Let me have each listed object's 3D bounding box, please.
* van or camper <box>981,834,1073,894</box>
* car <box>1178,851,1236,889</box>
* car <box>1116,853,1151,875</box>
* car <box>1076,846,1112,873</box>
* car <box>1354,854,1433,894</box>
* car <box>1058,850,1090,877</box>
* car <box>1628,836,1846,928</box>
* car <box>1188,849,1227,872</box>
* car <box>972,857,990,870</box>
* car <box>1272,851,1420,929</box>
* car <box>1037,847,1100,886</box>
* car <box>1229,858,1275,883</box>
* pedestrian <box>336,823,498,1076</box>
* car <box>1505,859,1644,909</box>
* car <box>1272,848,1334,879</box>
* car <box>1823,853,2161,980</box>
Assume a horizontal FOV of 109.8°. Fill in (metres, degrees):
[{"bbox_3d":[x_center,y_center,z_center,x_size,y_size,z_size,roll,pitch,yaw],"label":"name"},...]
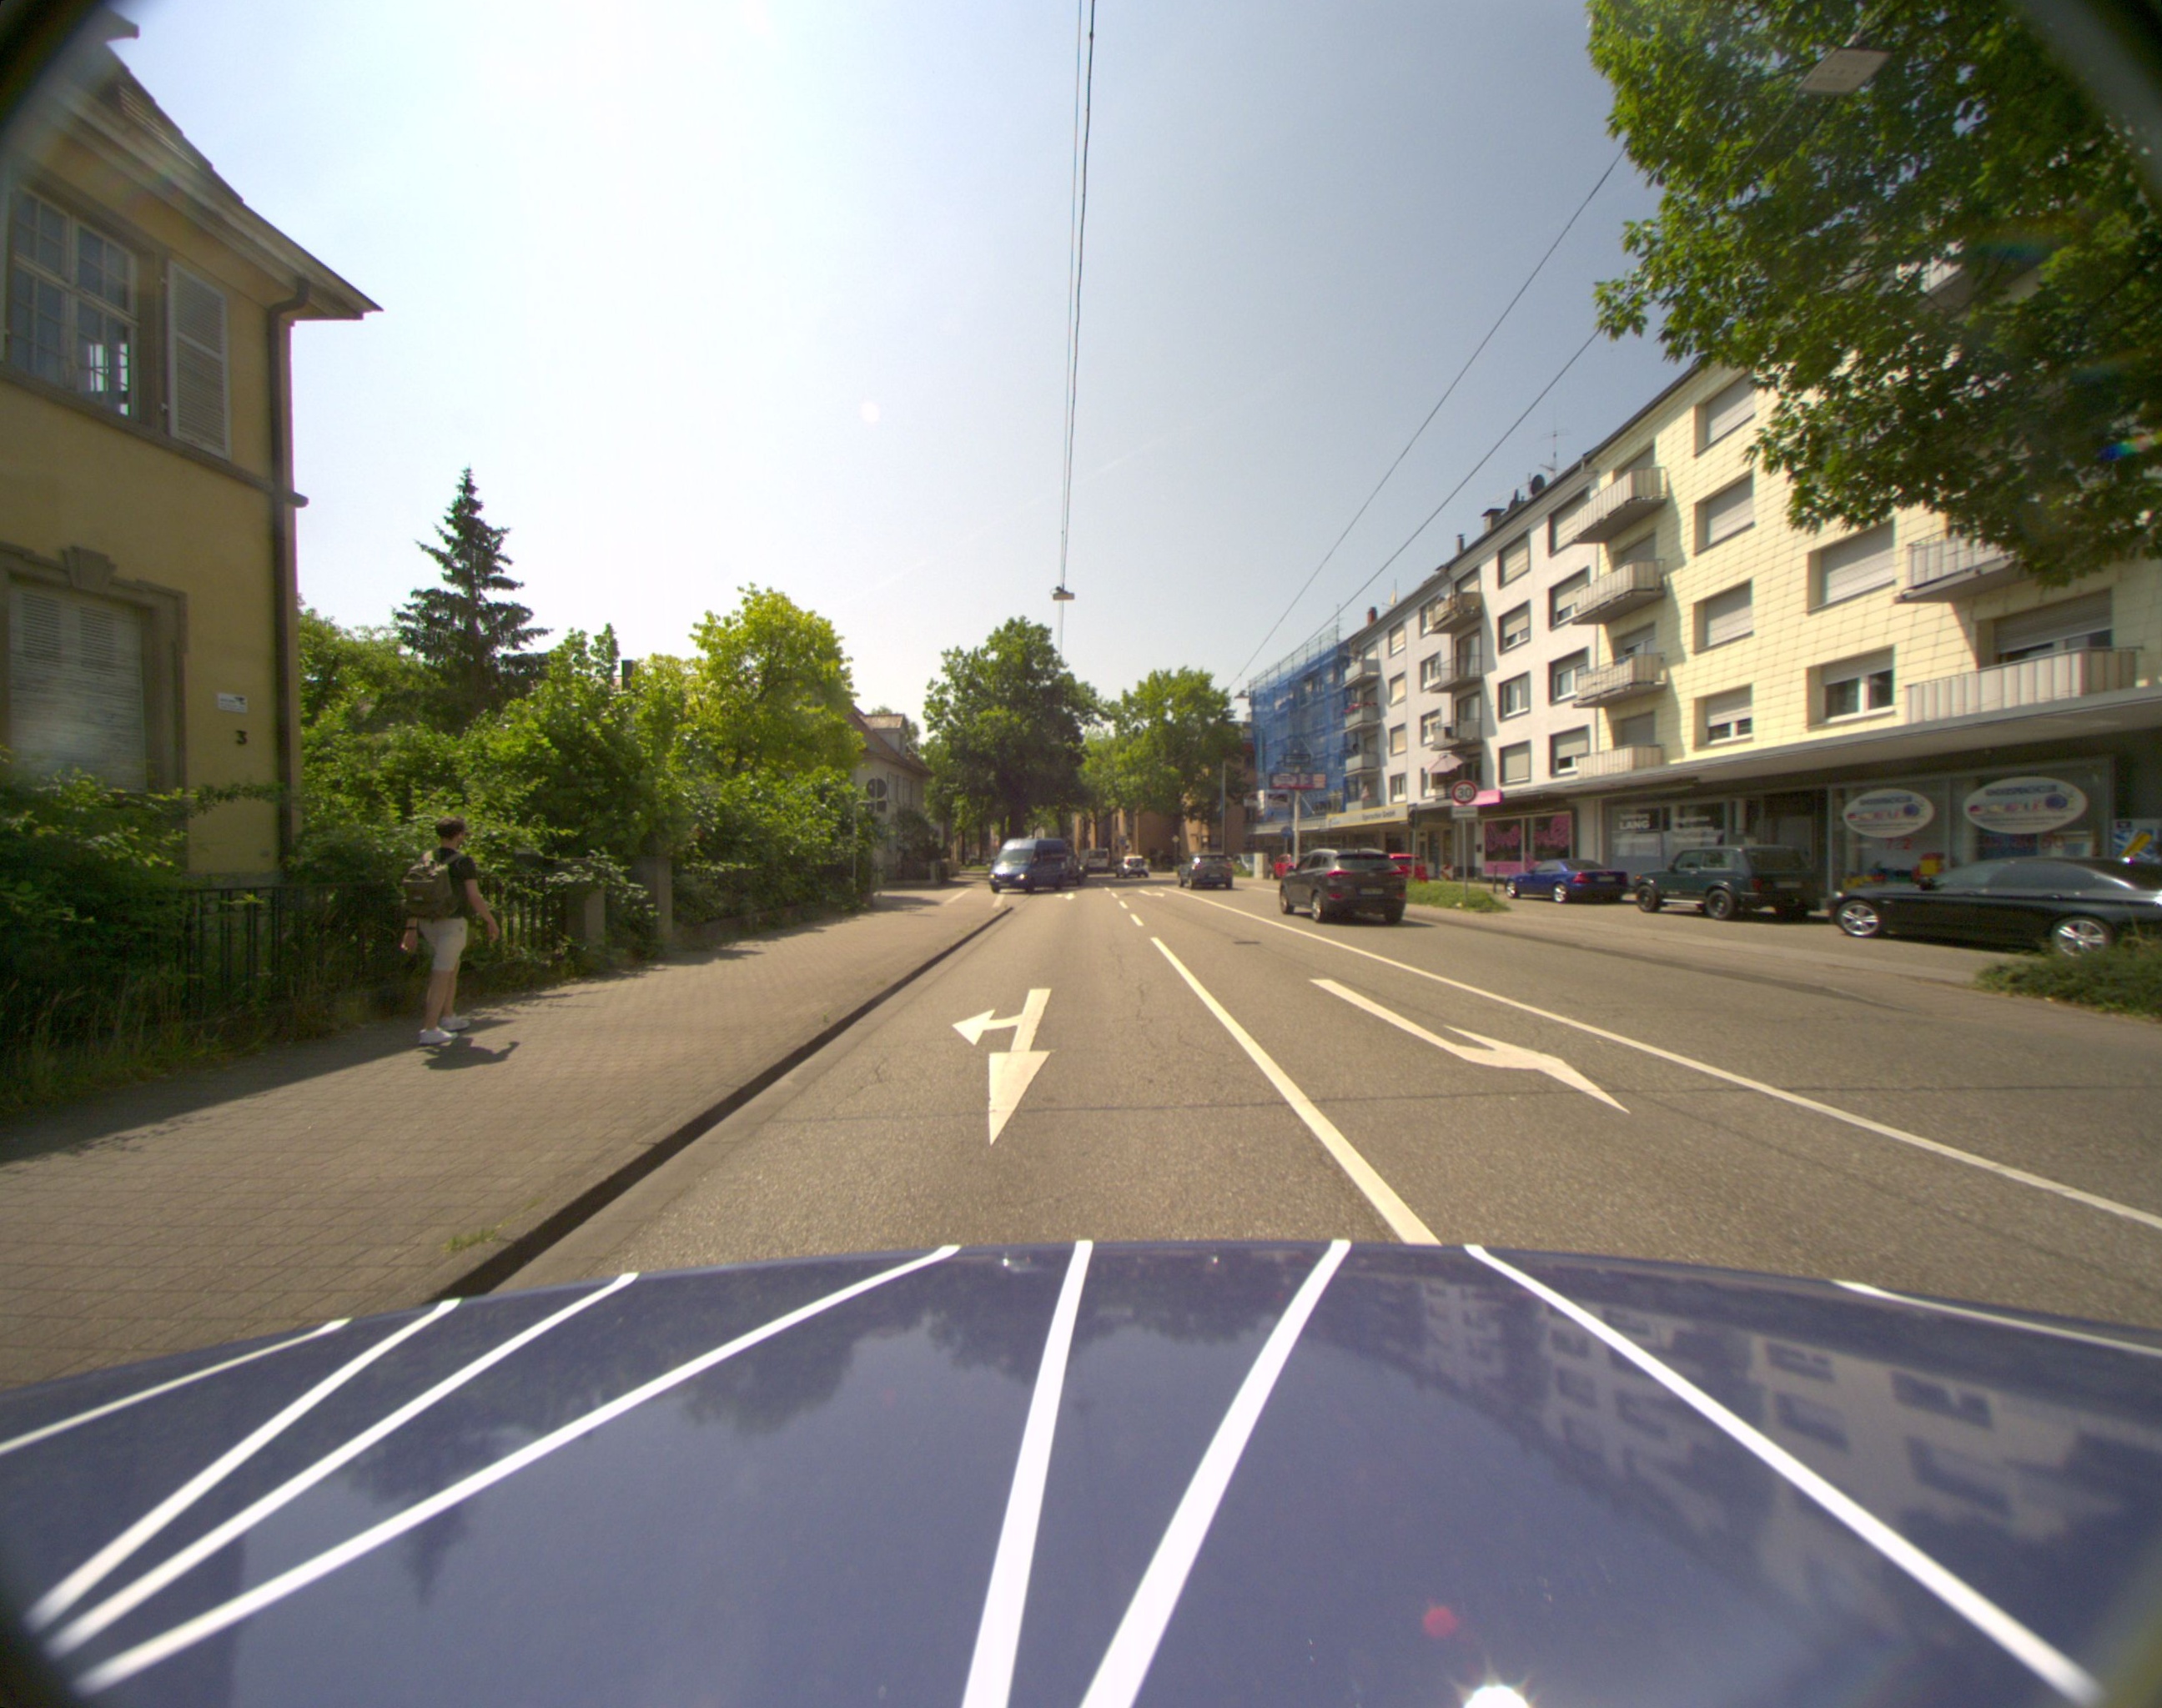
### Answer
[{"bbox_3d":[-2.398,0.427,35.900,2.161,2.566,5.854,-1,0,19],"label":"van or camper"},{"bbox_3d":[5.636,0.693,34.389,1.928,1.598,3.999,-1,0,0],"label":"car"},{"bbox_3d":[3.618,0.677,52.747,1.707,1.462,3.556,-2,0,-7],"label":"car"},{"bbox_3d":[1.129,0.470,68.654,2.322,2.229,4.758,-3,0,-10],"label":"car"},{"bbox_3d":[12.067,0.742,29.562,1.639,1.459,3.634,0,0,1],"label":"car"},{"bbox_3d":[-0.549,0.655,54.473,1.999,1.739,4.443,-2,0,-4],"label":"car"},{"bbox_3d":[14.660,0.565,17.297,1.643,1.828,3.860,-1,0,0],"label":"car"},{"bbox_3d":[9.882,0.503,59.723,1.914,1.794,4.331,0,0,-7],"label":"car"},{"bbox_3d":[-12.959,1.210,98.198,1.828,1.674,3.995,-2,0,-13],"label":"car"},{"bbox_3d":[6.081,0.772,18.024,1.985,1.629,4.226,0,0,-1],"label":"car"},{"bbox_3d":[-0.599,0.657,41.861,1.996,2.002,4.601,-1,0,19],"label":"car"},{"bbox_3d":[11.298,1.062,50.463,1.913,1.511,4.333,0,0,-2],"label":"car"},{"bbox_3d":[-5.282,0.719,6.093,0.621,1.907,0.744,0,1,0],"label":"pedestrian"},{"bbox_3d":[14.637,0.841,22.808,1.704,1.279,3.861,-1,0,0],"label":"car"},{"bbox_3d":[11.667,0.480,40.284,1.913,1.511,4.333,0,0,-2],"label":"car"},{"bbox_3d":[14.288,0.770,11.415,1.626,1.560,4.839,0,0,1],"label":"car"}]
